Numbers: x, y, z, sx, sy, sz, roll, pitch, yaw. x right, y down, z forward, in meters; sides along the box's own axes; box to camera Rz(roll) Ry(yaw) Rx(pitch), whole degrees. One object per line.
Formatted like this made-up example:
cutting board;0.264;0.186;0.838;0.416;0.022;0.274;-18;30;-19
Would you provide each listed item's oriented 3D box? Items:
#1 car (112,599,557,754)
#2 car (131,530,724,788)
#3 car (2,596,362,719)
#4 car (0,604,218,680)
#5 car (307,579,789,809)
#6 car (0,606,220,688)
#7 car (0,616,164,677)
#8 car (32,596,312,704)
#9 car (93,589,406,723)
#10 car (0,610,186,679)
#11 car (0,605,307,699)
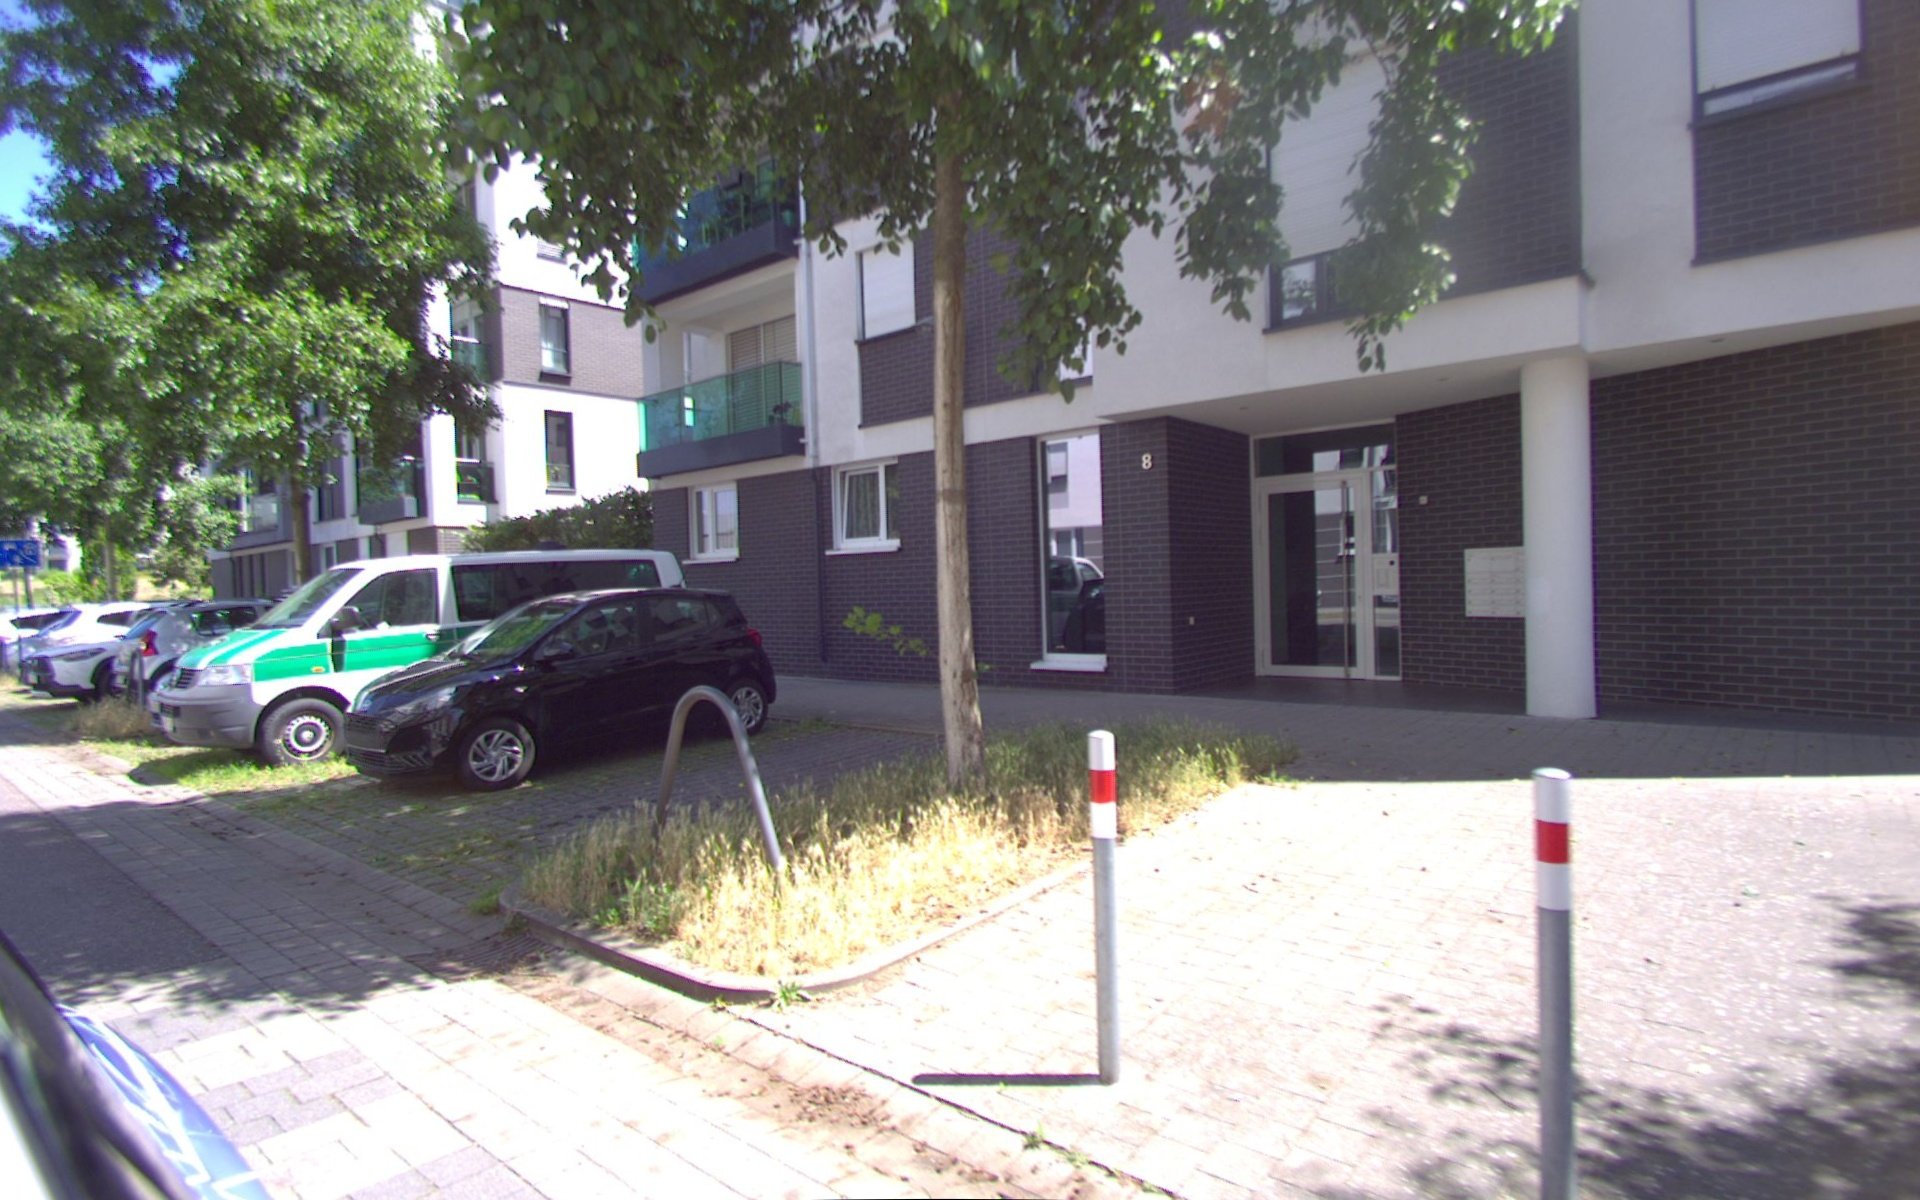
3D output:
car;-7.676;0.813;12.805;1.998;1.501;4.378;-2;0;39
car;-5.455;0.441;11.045;2.187;2.126;5.285;-2;0;42
car;-13.263;0.872;17.553;1.962;1.605;4.519;-2;2;35
car;-22.475;1.043;26.123;2.039;1.644;4.981;-2;1;38
car;-3.481;0.651;9.052;1.677;1.492;3.587;-1;2;40
car;-20.538;1.066;24.202;1.820;1.542;4.212;-2;2;37
car;-26.438;1.343;29.258;1.925;1.496;5.050;-1;2;38
car;-15.068;0.876;19.491;1.949;1.641;3.938;-1;2;43
car;-11.118;0.779;16.007;1.850;1.688;3.643;-2;2;40
car;-24.361;1.199;27.627;1.825;1.459;4.773;-1;4;38
car;-16.782;0.992;21.245;1.828;1.467;4.801;-1;2;41
